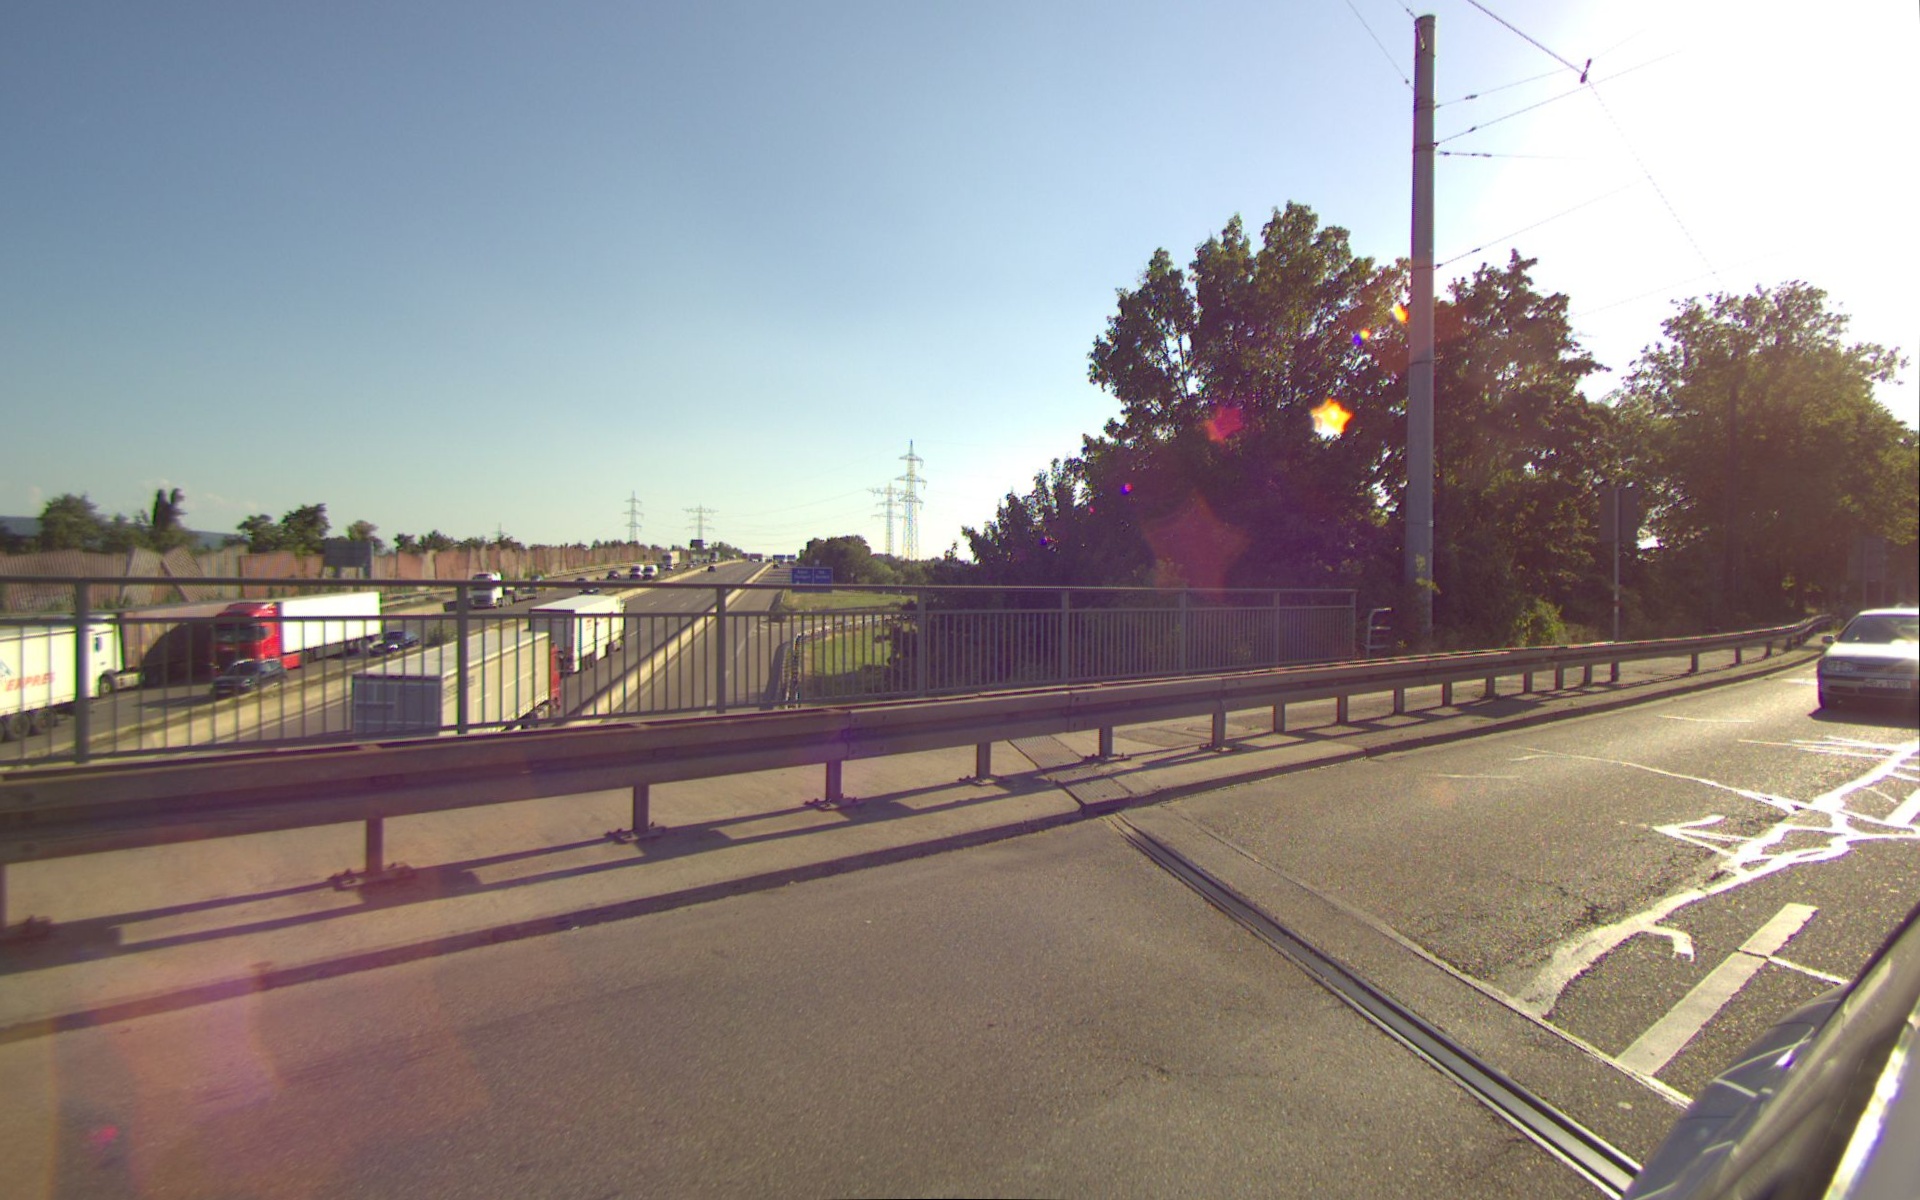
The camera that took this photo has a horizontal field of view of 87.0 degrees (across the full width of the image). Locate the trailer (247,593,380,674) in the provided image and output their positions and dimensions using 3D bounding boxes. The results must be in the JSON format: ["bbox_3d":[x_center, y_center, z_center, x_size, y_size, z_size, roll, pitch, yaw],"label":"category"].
[{"bbox_3d":[-41.251,1.921,65.204,2.506,4.206,12.007,-1,3,-9],"label":"trailer"}]

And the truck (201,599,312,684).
[{"bbox_3d":[-40.095,2.232,57.967,2.506,4.221,6.497,-1,3,-9],"label":"truck"}]

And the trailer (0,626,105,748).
[{"bbox_3d":[-36.581,3.427,36.928,2.506,4.116,11.511,-1,3,-9],"label":"trailer"}]

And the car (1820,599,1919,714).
[{"bbox_3d":[13.845,0.725,14.458,4.061,1.435,1.692,-1,0,-40],"label":"car"}]

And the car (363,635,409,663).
[{"bbox_3d":[-37.787,3.198,66.717,1.530,1.474,3.352,0,3,-8],"label":"car"}]

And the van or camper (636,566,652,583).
[{"bbox_3d":[-57.116,-4.636,182.885,1.955,2.856,4.827,0,3,-8],"label":"van or camper"}]

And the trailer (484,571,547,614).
[{"bbox_3d":[-54.133,-1.146,123.825,2.676,4.643,17.012,0,2,-9],"label":"trailer"}]

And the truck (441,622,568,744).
[{"bbox_3d":[-19.282,3.377,43.332,3.211,4.331,6.392,3,2,-9],"label":"truck"}]

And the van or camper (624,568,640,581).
[{"bbox_3d":[-61.477,-4.758,189.619,2.058,2.357,4.977,0,3,-8],"label":"van or camper"}]

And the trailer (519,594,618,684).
[{"bbox_3d":[-24.391,2.181,63.917,2.993,4.514,13.142,-1,3,-9],"label":"trailer"}]

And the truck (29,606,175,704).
[{"bbox_3d":[-43.120,2.635,51.161,2.506,4.221,6.497,-1,3,-9],"label":"truck"}]

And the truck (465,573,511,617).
[{"bbox_3d":[-52.438,-0.644,112.557,2.678,4.668,7.246,0,2,-9],"label":"truck"}]

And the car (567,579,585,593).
[{"bbox_3d":[-59.481,-2.135,156.824,1.741,1.885,3.831,0,4,-9],"label":"car"}]

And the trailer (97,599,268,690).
[{"bbox_3d":[-44.224,2.296,58.204,2.506,4.206,11.511,-1,3,-9],"label":"trailer"}]

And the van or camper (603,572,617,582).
[{"bbox_3d":[-64.674,-4.201,186.897,1.717,1.790,3.826,0,3,-7],"label":"van or camper"}]

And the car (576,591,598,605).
[{"bbox_3d":[-47.755,-0.294,129.647,1.724,1.616,4.317,0,3,-9],"label":"car"}]

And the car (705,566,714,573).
[{"bbox_3d":[-57.010,-6.920,230.053,1.428,1.584,3.213,0,4,-5],"label":"car"}]

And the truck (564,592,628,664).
[{"bbox_3d":[-25.647,1.842,71.591,2.990,4.514,6.620,-1,3,-10],"label":"truck"}]

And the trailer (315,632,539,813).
[{"bbox_3d":[-18.008,3.803,35.445,3.240,4.326,11.576,3,2,-9],"label":"trailer"}]

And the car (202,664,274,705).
[{"bbox_3d":[-34.791,4.040,48.846,1.530,1.474,3.353,0,3,-10],"label":"car"}]
